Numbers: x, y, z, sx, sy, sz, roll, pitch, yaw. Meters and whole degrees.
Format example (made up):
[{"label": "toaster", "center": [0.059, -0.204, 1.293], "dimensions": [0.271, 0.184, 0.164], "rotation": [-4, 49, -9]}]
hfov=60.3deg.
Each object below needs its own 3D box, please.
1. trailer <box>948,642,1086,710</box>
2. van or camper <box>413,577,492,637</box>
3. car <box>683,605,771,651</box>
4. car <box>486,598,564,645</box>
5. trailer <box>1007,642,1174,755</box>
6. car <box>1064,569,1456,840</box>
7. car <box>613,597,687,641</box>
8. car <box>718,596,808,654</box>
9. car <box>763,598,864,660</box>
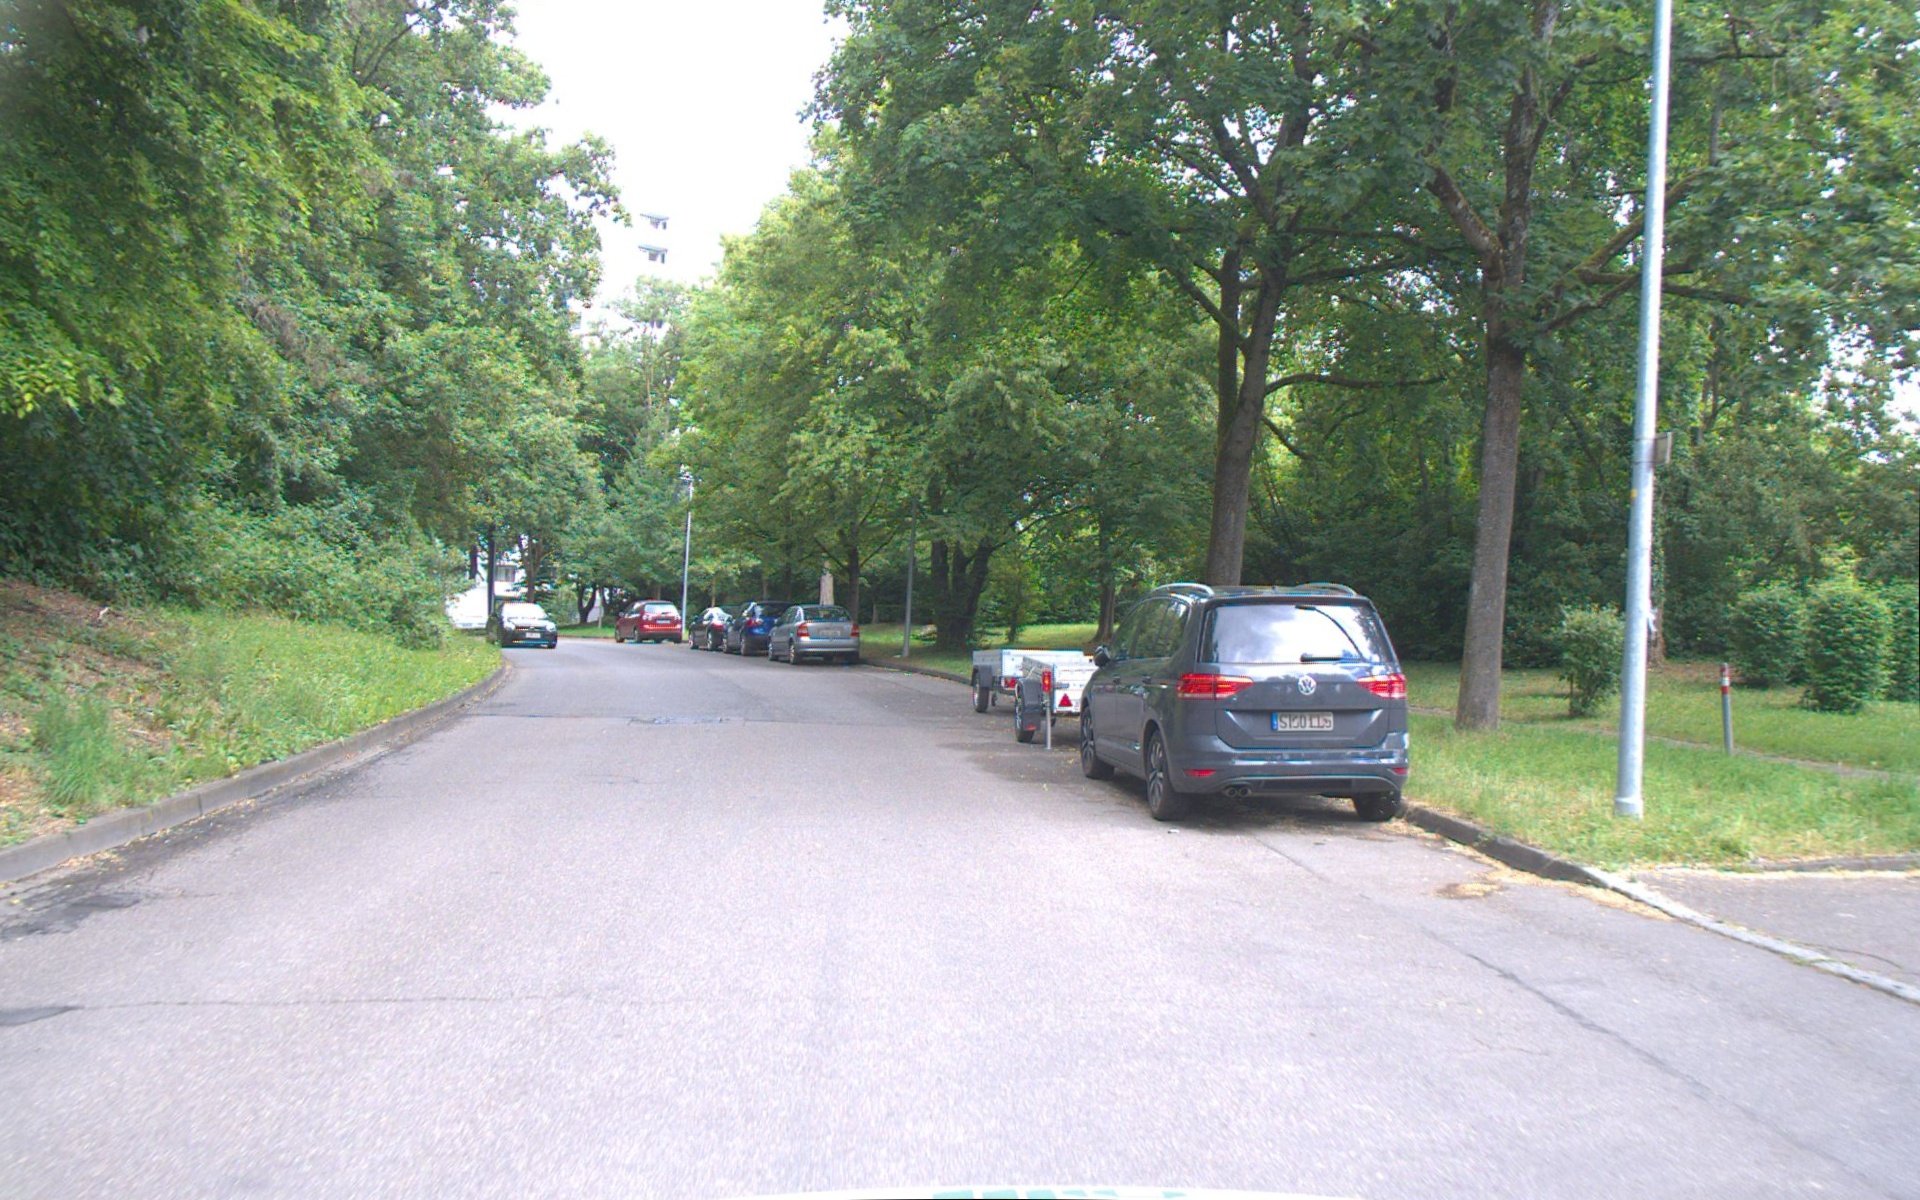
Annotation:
[{"label": "trailer", "center": [0.763, 1.067, 23.879], "dimensions": [1.338, 0.862, 3.271], "rotation": [3, -2, -9]}, {"label": "van or camper", "center": [-26.926, 0.357, 87.633], "dimensions": [2.410, 3.060, 5.141], "rotation": [0, 0, -37]}, {"label": "car", "center": [-7.383, 0.858, 52.030], "dimensions": [1.726, 1.360, 4.386], "rotation": [1, -1, -22]}, {"label": "car", "center": [-14.341, 0.709, 54.370], "dimensions": [1.767, 1.413, 4.458], "rotation": [3, -2, -23]}, {"label": "trailer", "center": [1.417, 1.076, 19.133], "dimensions": [1.330, 0.986, 3.889], "rotation": [2, 0, -4]}, {"label": "car", "center": [2.099, 0.696, 13.077], "dimensions": [1.741, 1.691, 4.834], "rotation": [2, -1, -6]}, {"label": "car", "center": [-11.665, 0.730, 62.018], "dimensions": [1.717, 1.590, 3.965], "rotation": [1, -1, -27]}, {"label": "car", "center": [-5.720, 0.721, 47.589], "dimensions": [1.688, 1.536, 4.158], "rotation": [3, -2, -19]}, {"label": "car", "center": [-3.692, 0.712, 41.198], "dimensions": [1.691, 1.457, 3.928], "rotation": [0, -1, -18]}]
